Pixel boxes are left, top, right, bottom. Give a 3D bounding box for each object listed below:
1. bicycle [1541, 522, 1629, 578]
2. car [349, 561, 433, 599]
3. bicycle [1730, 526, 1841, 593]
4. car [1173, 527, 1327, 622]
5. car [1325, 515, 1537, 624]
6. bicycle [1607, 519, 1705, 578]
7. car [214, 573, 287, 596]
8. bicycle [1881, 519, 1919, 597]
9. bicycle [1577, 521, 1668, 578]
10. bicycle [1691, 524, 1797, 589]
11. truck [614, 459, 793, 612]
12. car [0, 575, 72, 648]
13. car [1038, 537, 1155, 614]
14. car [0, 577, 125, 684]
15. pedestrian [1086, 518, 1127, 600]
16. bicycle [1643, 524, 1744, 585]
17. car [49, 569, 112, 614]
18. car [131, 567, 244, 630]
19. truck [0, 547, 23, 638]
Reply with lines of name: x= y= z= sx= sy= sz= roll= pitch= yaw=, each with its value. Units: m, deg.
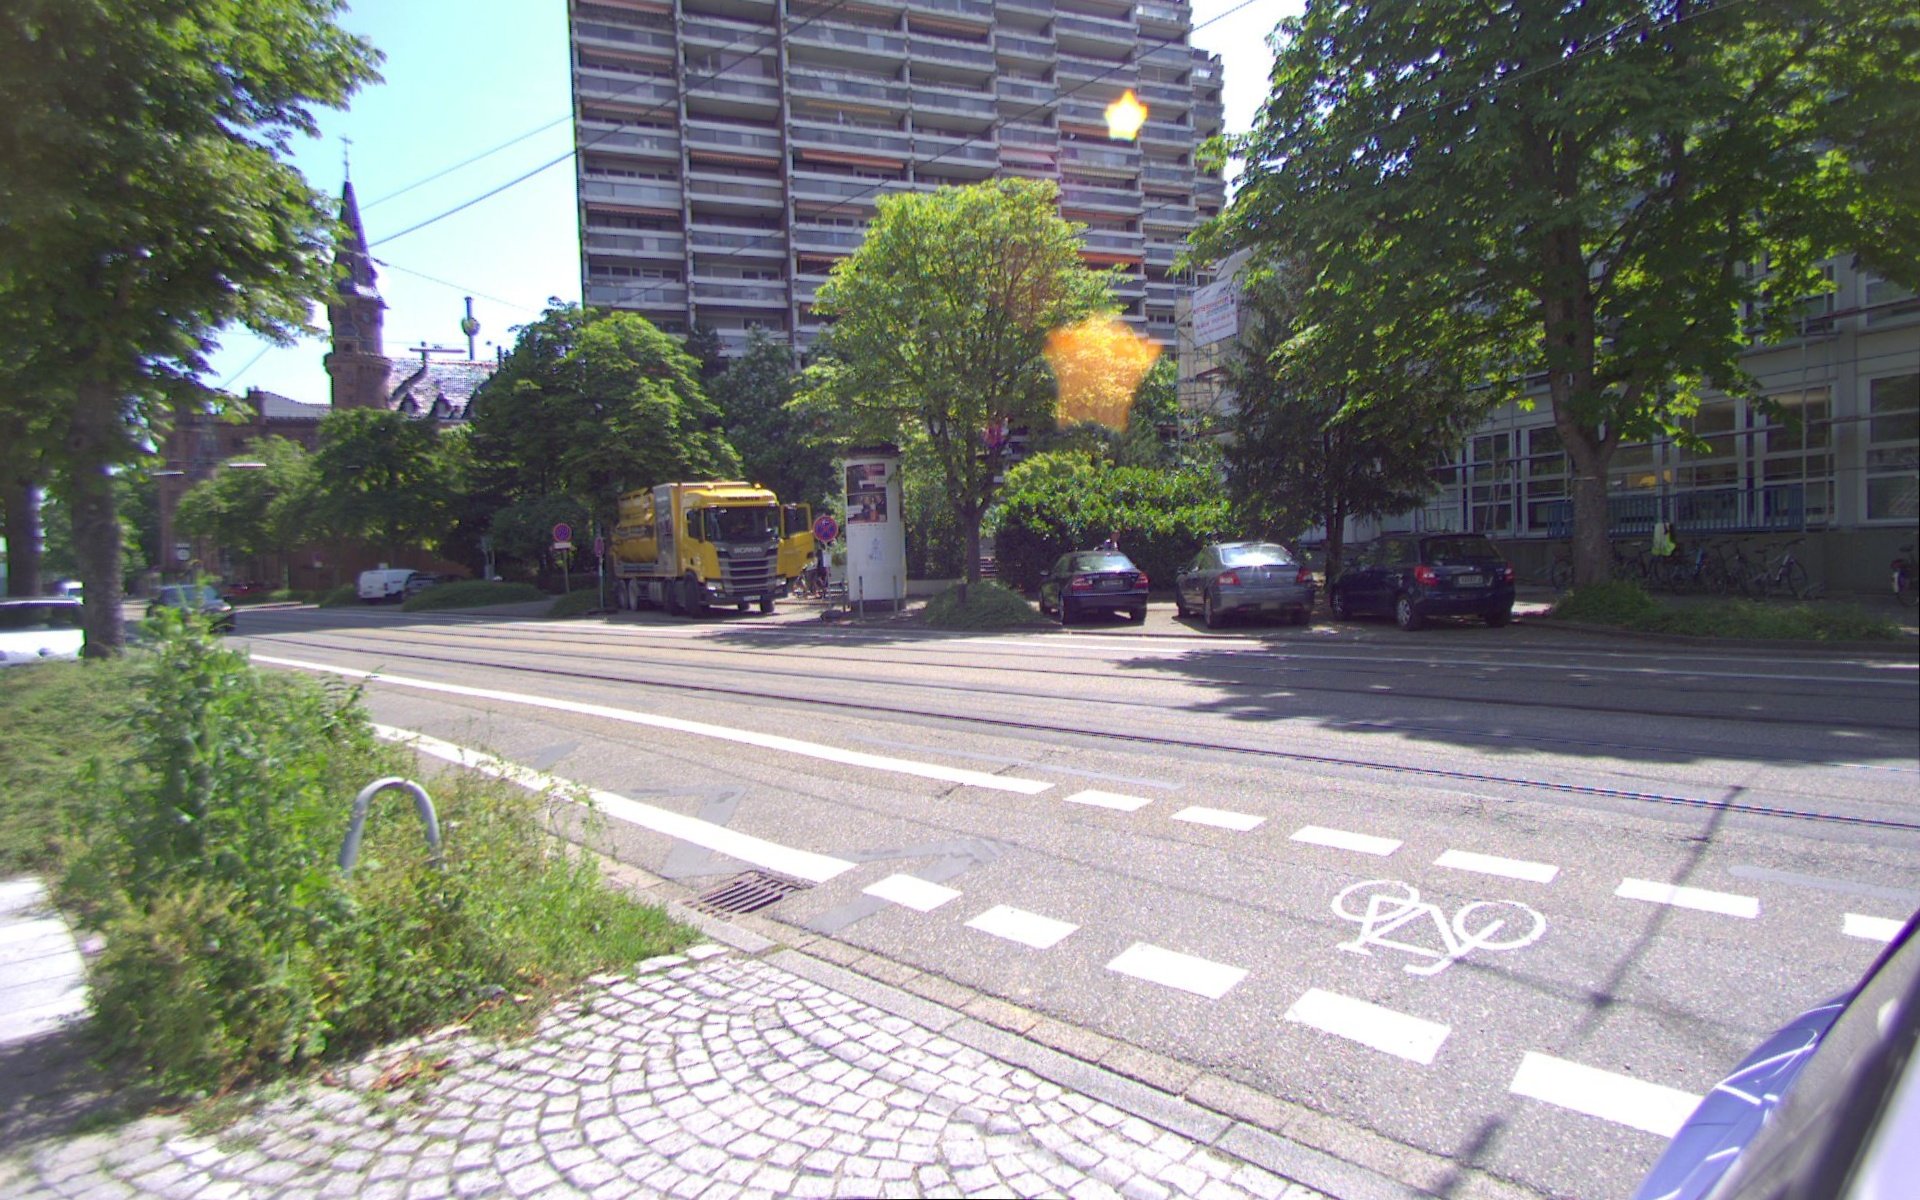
bicycle: x=13.758 y=-1.099 z=22.261 sx=1.887 sy=1.144 sz=0.570 roll=-3 pitch=2 yaw=-19
car: x=-29.646 y=-1.081 z=52.890 sx=1.803 sy=1.815 sz=3.996 roll=-1 pitch=3 yaw=6
bicycle: x=14.994 y=-0.743 z=18.385 sx=1.903 sy=1.144 sz=0.570 roll=-3 pitch=3 yaw=-15
car: x=5.189 y=-0.509 z=18.628 sx=1.786 sy=1.480 sz=4.022 roll=-2 pitch=2 yaw=3
car: x=7.541 y=-0.535 z=16.603 sx=1.618 sy=1.535 sz=3.580 roll=-2 pitch=3 yaw=-3
bicycle: x=14.322 y=-1.061 z=20.818 sx=1.887 sy=1.144 sz=0.570 roll=-3 pitch=2 yaw=-15
car: x=-52.838 y=-1.149 z=75.430 sx=1.976 sy=1.504 sz=3.974 roll=-1 pitch=3 yaw=21
bicycle: x=16.262 y=-0.722 z=16.747 sx=1.903 sy=1.252 sz=0.570 roll=-3 pitch=2 yaw=-15
bicycle: x=14.114 y=-1.086 z=21.563 sx=1.887 sy=1.144 sz=0.570 roll=-3 pitch=2 yaw=-19
bicycle: x=14.847 y=-0.838 z=19.164 sx=1.903 sy=1.144 sz=0.570 roll=-3 pitch=2 yaw=-15
truck: x=-8.322 y=-1.913 z=31.622 sx=2.697 sy=4.054 sz=9.756 roll=-4 pitch=3 yaw=-30
car: x=-23.295 y=0.265 z=24.607 sx=3.982 sy=1.626 sz=1.972 roll=0 pitch=3 yaw=40
car: x=2.730 y=-0.562 z=21.057 sx=1.598 sy=1.389 sz=4.028 roll=-2 pitch=3 yaw=-3
car: x=-14.525 y=0.408 z=16.162 sx=1.596 sy=1.457 sz=3.576 roll=-4 pitch=4 yaw=-42
pedestrian: x=3.460 y=-0.965 z=23.896 sx=0.702 sy=1.897 sz=0.578 roll=-3 pitch=3 yaw=-33
bicycle: x=14.578 y=-0.909 z=20.114 sx=1.903 sy=1.144 sz=0.570 roll=-3 pitch=2 yaw=-15
car: x=-43.190 y=-0.448 z=49.689 sx=3.988 sy=2.038 sz=1.969 roll=1 pitch=4 yaw=45
car: x=-23.886 y=-0.073 z=31.263 sx=3.984 sy=1.709 sz=1.972 roll=1 pitch=4 yaw=42
truck: x=-29.280 y=-0.189 z=29.617 sx=5.846 sy=2.515 sz=1.998 roll=0 pitch=3 yaw=41
